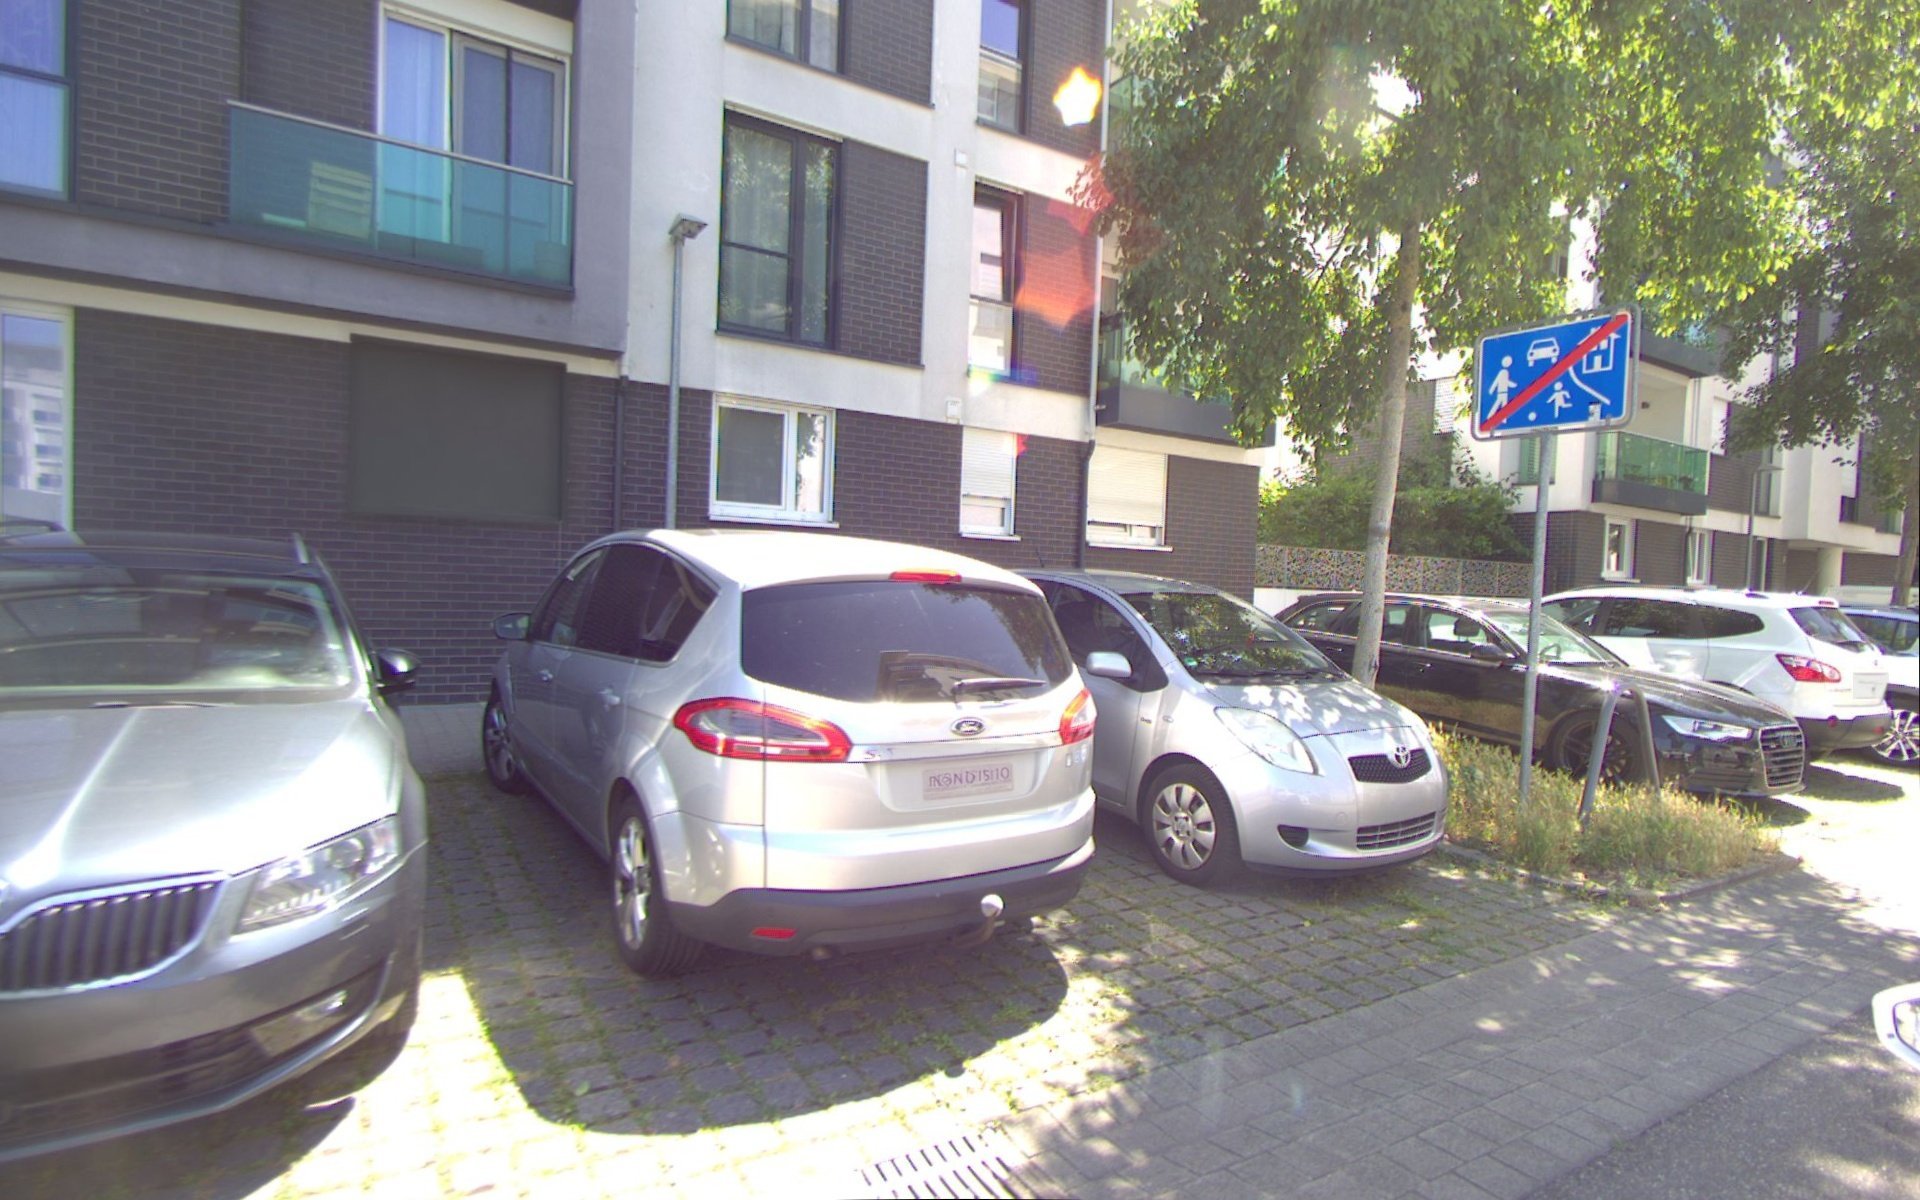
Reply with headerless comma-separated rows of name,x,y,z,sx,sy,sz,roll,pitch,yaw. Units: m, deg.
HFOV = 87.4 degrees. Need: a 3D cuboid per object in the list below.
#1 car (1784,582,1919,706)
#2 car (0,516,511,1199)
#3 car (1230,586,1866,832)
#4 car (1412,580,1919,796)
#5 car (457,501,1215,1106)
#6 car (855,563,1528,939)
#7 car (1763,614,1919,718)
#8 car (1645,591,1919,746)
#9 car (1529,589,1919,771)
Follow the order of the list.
car,17.874,0.805,17.242,2.161,2.139,5.318,1,1,-29
car,-3.212,0.472,4.021,1.809,1.469,4.788,2,3,-33
car,4.988,0.737,9.404,1.808,1.476,4.824,1,2,-31
car,7.135,0.719,10.525,1.926,1.651,3.962,2,2,-29
car,-1.249,0.482,5.391,2.021,1.654,4.997,1,2,-33
car,1.114,0.616,6.675,1.804,1.551,4.223,1,3,-34
car,15.561,1.063,15.627,1.979,1.509,4.394,1,1,-33
car,11.557,0.837,13.280,1.831,1.698,3.659,1,2,-32
car,9.476,0.823,11.677,1.948,1.615,4.525,1,3,-36
